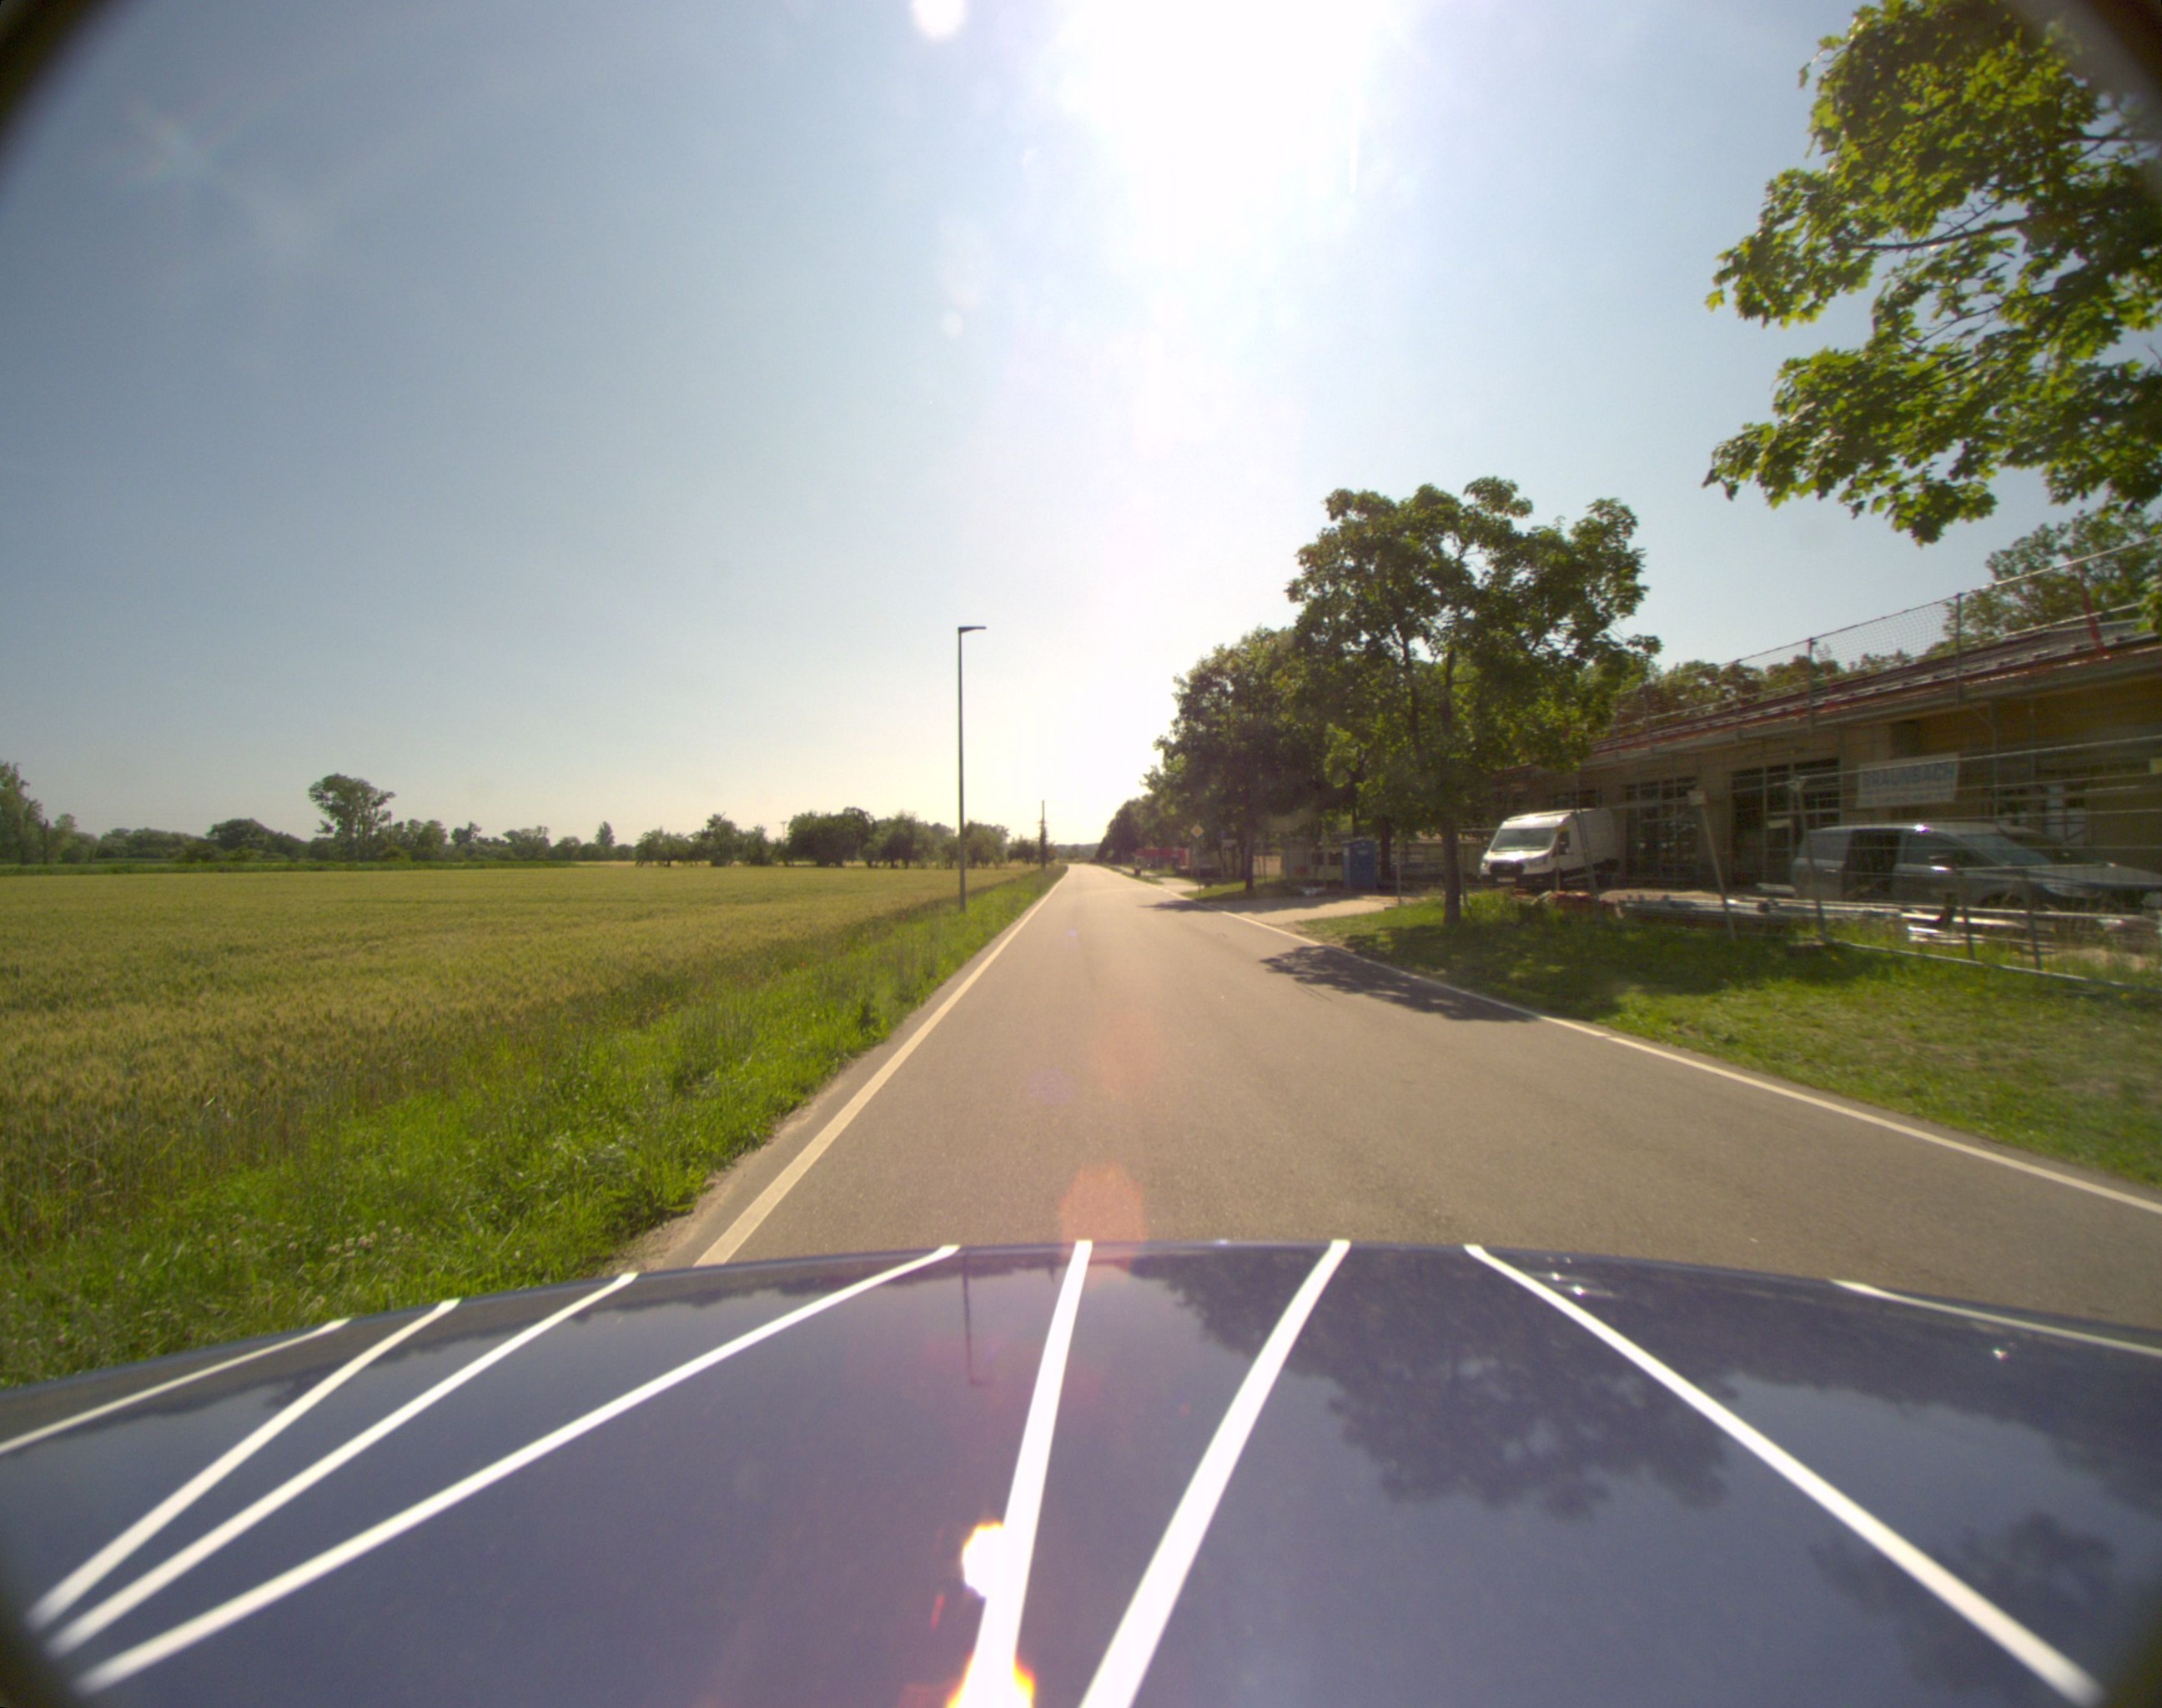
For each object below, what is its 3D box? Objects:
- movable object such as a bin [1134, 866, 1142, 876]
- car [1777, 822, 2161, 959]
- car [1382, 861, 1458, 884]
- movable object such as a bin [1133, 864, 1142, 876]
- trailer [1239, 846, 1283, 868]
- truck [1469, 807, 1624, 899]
[{"bbox_3d":[4.846,1.433,64.525,0.563,0.871,0.614,0,0,8],"label":"movable object such as a bin"},{"bbox_3d":[14.350,0.490,12.400,1.975,1.827,4.328,-1,0,0],"label":"car"},{"bbox_3d":[20.339,1.096,45.710,3.812,1.391,1.758,0,0,-7],"label":"car"},{"bbox_3d":[4.881,1.355,65.219,0.700,1.018,0.748,0,0,8],"label":"movable object such as a bin"},{"bbox_3d":[19.184,0.306,81.132,4.239,2.264,1.826,0,0,-13],"label":"trailer"},{"bbox_3d":[14.619,-0.134,23.693,5.941,2.470,1.995,-4,2,-37],"label":"truck"}]
